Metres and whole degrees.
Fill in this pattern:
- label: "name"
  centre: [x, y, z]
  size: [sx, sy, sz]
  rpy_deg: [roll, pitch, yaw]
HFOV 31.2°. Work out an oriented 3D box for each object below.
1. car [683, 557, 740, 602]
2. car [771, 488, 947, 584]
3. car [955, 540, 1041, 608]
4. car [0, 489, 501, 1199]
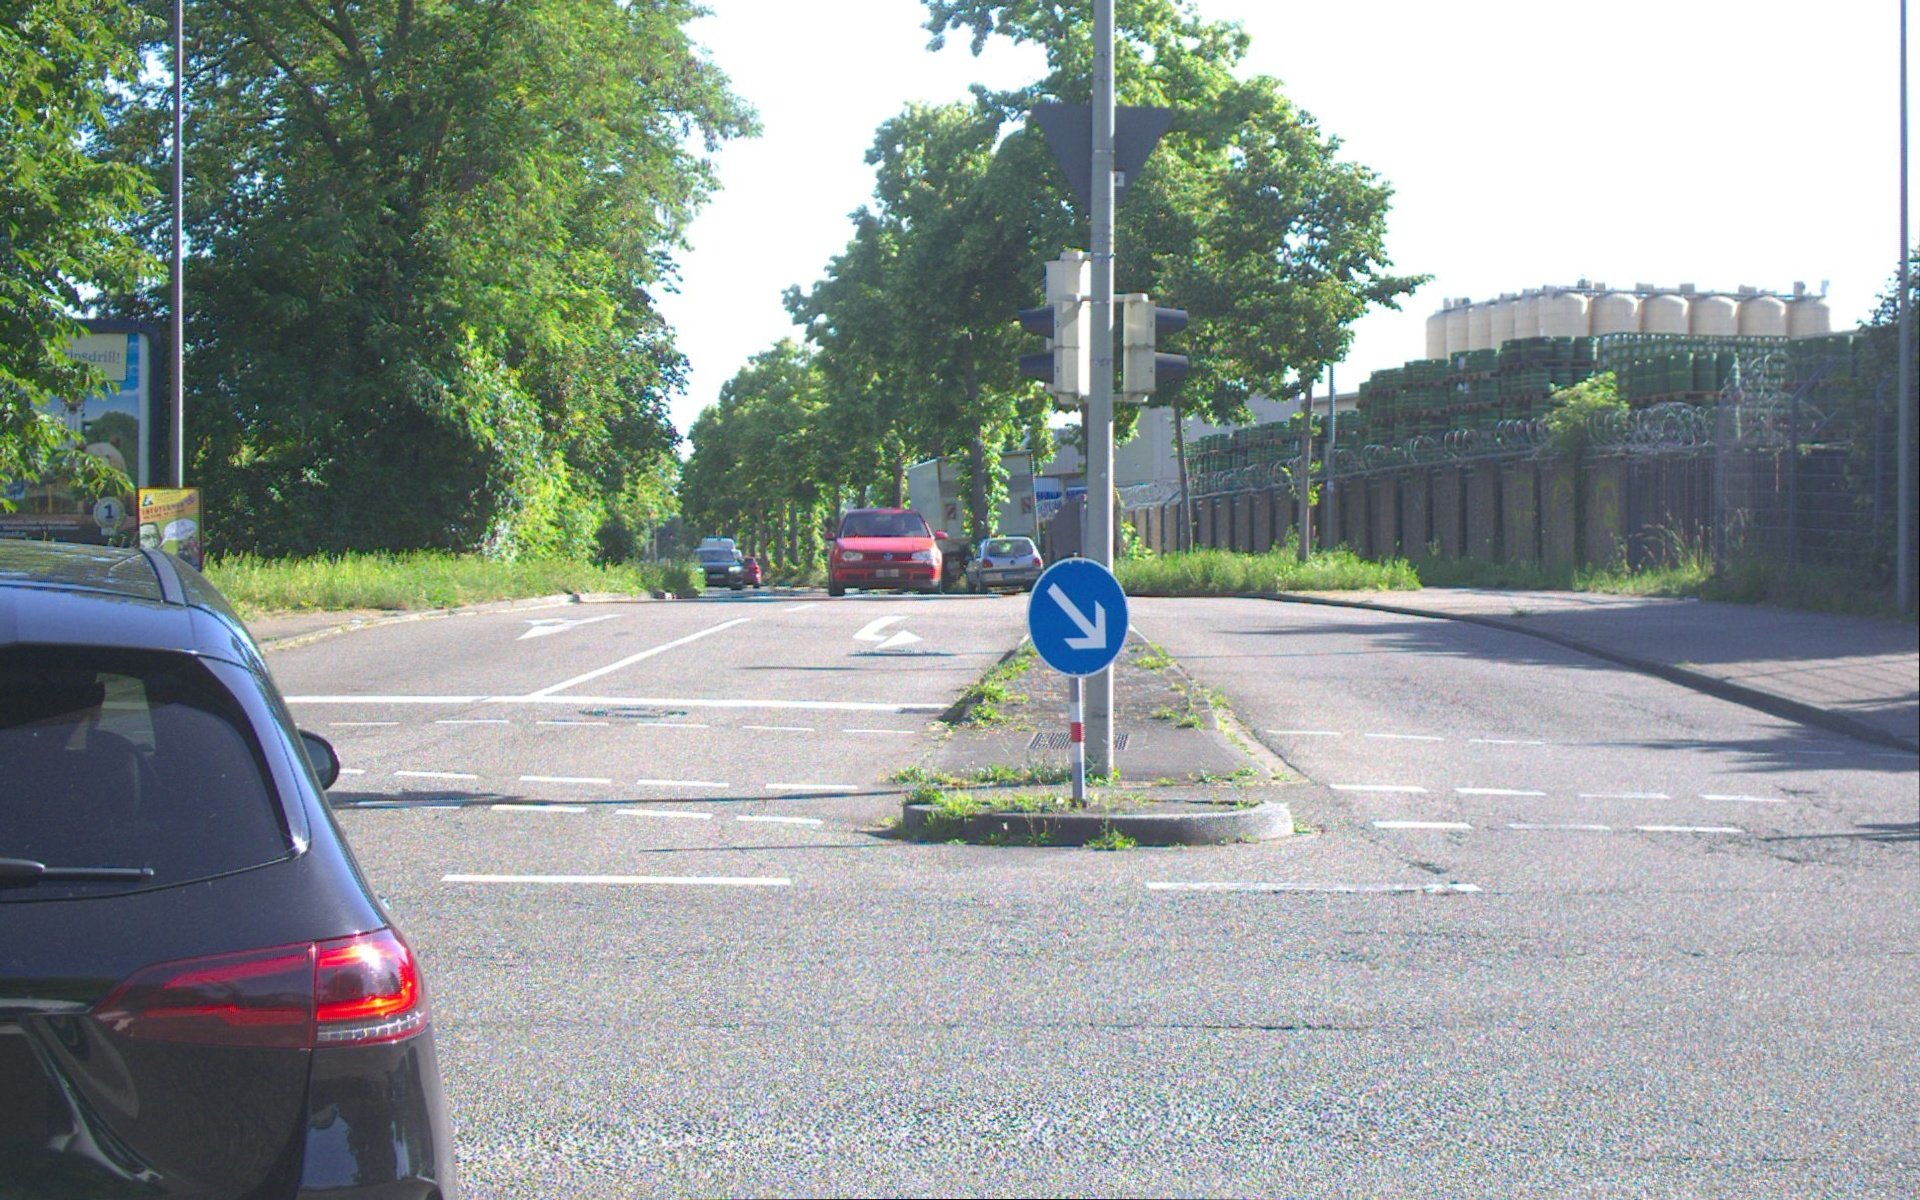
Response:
- label: "car"
  centre: [-8.296, -0.699, 114.579]
  size: [1.857, 1.464, 4.139]
  rpy_deg: [0, 1, -4]
- label: "car"
  centre: [-1.659, -1.015, 54.921]
  size: [1.857, 1.464, 4.140]
  rpy_deg: [0, 1, -16]
- label: "car"
  centre: [0.901, -0.653, 84.125]
  size: [1.688, 1.626, 3.131]
  rpy_deg: [0, 1, -7]
- label: "car"
  centre: [-2.041, 0.610, 6.218]
  size: [1.769, 1.587, 3.990]
  rpy_deg: [0, 1, -17]
